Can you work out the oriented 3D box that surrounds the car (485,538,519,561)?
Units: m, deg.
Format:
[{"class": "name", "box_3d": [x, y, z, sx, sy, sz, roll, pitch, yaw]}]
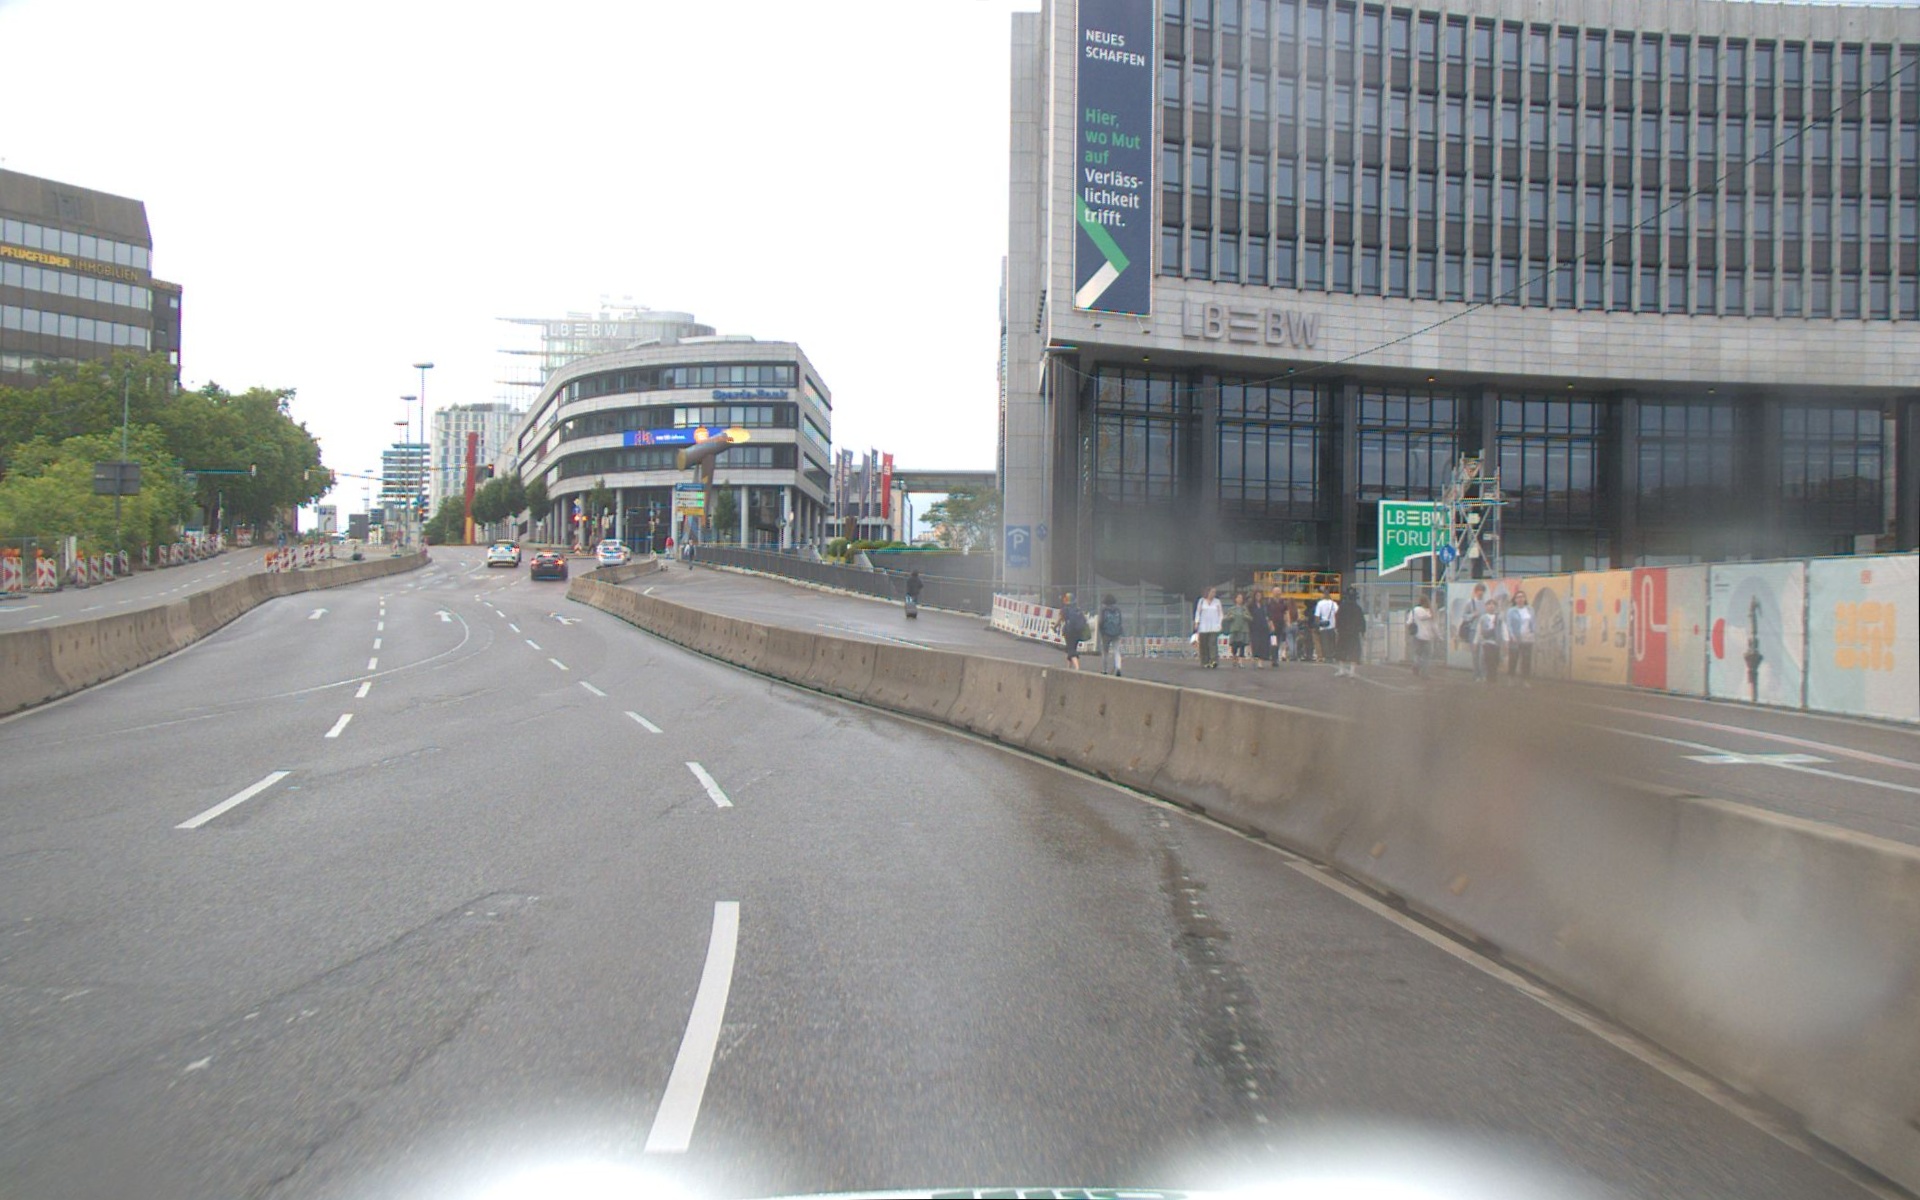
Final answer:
[{"class": "car", "box_3d": [-30.713, -3.387, 110.828, 1.715, 1.468, 3.974, 1, 2, -22]}]

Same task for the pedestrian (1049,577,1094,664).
[{"class": "pedestrian", "box_3d": [2.118, 0.381, 31.348, 0.716, 1.602, 0.805, 2, 0, 8]}]

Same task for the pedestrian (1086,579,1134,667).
[{"class": "pedestrian", "box_3d": [2.865, 0.430, 31.451, 0.842, 1.621, 0.953, 1, 0, 8]}]

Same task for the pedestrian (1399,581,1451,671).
[{"class": "pedestrian", "box_3d": [9.154, 0.509, 32.596, 0.847, 1.719, 1.009, 1, 0, 10]}]

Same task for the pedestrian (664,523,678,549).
[{"class": "pedestrian", "box_3d": [-22.134, -4.917, 126.810, 0.822, 1.938, 0.862, 1, -1, 6]}]

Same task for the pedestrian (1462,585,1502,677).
[{"class": "pedestrian", "box_3d": [9.125, 0.534, 28.915, 0.633, 1.580, 0.766, 1, -1, 17]}]

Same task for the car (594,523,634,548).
[{"class": "car", "box_3d": [-24.029, -4.475, 115.050, 1.735, 1.662, 4.582, 1, 2, 1]}]

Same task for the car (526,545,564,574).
[{"class": "car", "box_3d": [-21.760, -2.105, 86.704, 1.726, 1.432, 4.209, 3, 0, -16]}]

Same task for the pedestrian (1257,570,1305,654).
[{"class": "pedestrian", "box_3d": [7.260, 0.271, 37.441, 0.848, 1.849, 1.008, 1, 0, 0]}]

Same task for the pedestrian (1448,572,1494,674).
[{"class": "pedestrian", "box_3d": [9.593, 0.427, 31.061, 0.800, 1.881, 0.932, 1, -1, 17]}]

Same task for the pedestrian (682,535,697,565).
[{"class": "pedestrian", "box_3d": [-16.204, -2.999, 98.967, 0.719, 1.741, 0.838, 1, -1, -20]}]

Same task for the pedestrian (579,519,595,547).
[{"class": "pedestrian", "box_3d": [-29.590, -5.291, 131.306, 0.848, 2.135, 0.890, 2, 1, -43]}]

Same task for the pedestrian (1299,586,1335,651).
[{"class": "pedestrian", "box_3d": [9.341, 0.491, 43.348, 0.847, 1.665, 1.009, 1, 0, 10]}]

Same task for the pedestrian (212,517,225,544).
[{"class": "pedestrian", "box_3d": [-54.916, -5.174, 122.463, 0.749, 1.956, 0.738, 1, -1, -17]}]

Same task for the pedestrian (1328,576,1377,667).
[{"class": "pedestrian", "box_3d": [7.799, 0.422, 32.907, 0.847, 1.756, 1.009, 1, 0, 10]}]

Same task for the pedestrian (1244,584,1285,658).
[{"class": "pedestrian", "box_3d": [6.674, 0.449, 36.264, 0.699, 1.580, 1.008, 1, 0, 0]}]

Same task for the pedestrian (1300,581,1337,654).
[{"class": "pedestrian", "box_3d": [9.068, 0.439, 41.898, 0.847, 1.812, 1.009, 1, -1, 10]}]

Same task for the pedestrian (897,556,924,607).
[{"class": "pedestrian", "box_3d": [-1.670, -0.628, 55.977, 0.714, 1.681, 1.062, 1, 1, 8]}]

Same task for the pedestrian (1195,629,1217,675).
[{"class": "pedestrian", "box_3d": [9.090, 1.914, 61.181, 0.575, 1.665, 0.751, 1, -1, 29]}]

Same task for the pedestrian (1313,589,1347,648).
[{"class": "pedestrian", "box_3d": [10.083, 0.497, 45.078, 0.847, 1.580, 1.009, 1, 0, 10]}]

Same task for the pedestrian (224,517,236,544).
[{"class": "pedestrian", "box_3d": [-54.177, -5.137, 122.755, 0.661, 1.935, 0.772, 1, -1, -17]}]

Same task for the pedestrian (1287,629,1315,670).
[{"class": "pedestrian", "box_3d": [14.112, 2.031, 68.523, 0.850, 1.665, 1.006, 1, -1, 30]}]

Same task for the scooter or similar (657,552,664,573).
[{"class": "scooter or similar", "box_3d": [-17.020, -2.124, 93.958, 0.342, 1.183, 0.572, 1, 0, -5]}]

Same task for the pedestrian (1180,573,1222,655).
[{"class": "pedestrian", "box_3d": [5.239, 0.299, 36.047, 0.761, 1.753, 0.891, 1, -1, 0]}]

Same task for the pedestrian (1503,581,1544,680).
[{"class": "pedestrian", "box_3d": [9.870, 0.528, 28.978, 0.633, 1.684, 0.766, 1, -1, 17]}]

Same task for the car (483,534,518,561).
[{"class": "car", "box_3d": [-28.248, -3.227, 101.727, 1.931, 1.575, 4.203, 1, 2, -15]}]

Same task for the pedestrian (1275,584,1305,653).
[{"class": "pedestrian", "box_3d": [8.894, 0.489, 44.584, 0.754, 1.814, 1.009, 1, -1, 10]}]

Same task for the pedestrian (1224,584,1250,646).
[{"class": "pedestrian", "box_3d": [7.499, 0.406, 44.791, 0.683, 1.665, 0.917, 1, -1, 10]}]

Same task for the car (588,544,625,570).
[{"class": "car", "box_3d": [-21.469, -2.591, 100.293, 1.675, 1.476, 4.591, 1, 1, -19]}]

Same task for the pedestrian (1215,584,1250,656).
[{"class": "pedestrian", "box_3d": [5.969, 0.432, 36.245, 0.596, 1.549, 0.885, 1, 0, 0]}]
